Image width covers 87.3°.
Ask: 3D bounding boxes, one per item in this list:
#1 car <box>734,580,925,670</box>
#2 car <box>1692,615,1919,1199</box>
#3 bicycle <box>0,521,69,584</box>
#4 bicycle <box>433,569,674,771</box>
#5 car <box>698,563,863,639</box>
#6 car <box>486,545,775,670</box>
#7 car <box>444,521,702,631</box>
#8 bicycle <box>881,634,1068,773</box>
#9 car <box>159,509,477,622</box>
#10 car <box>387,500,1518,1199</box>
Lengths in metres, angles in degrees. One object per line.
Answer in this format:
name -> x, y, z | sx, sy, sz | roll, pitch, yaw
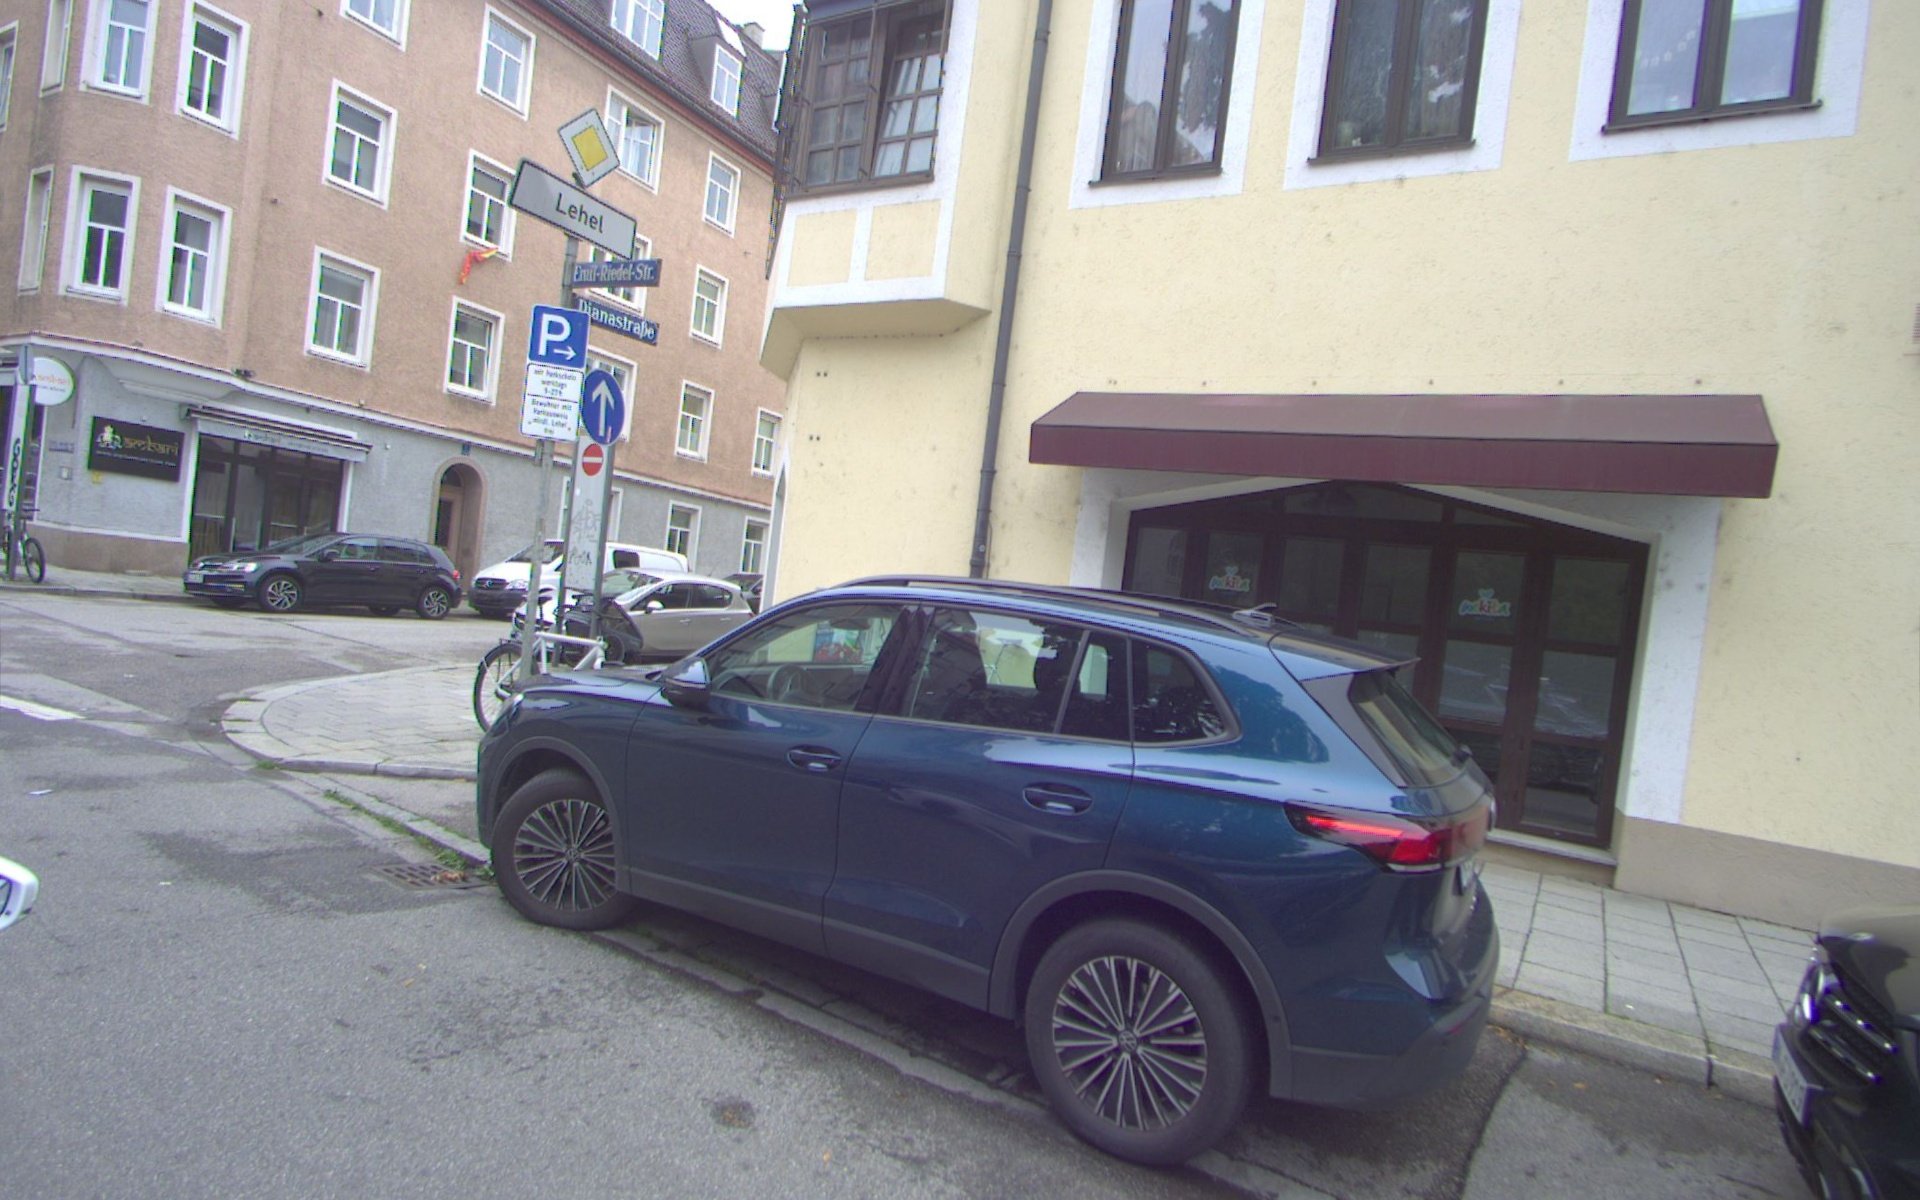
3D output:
car -> -2.538, 0.553, 20.417 | 1.717, 1.394, 3.812 | 9, 1, 31
car -> 4.178, 1.153, 1.582 | 4.630, 1.701, 1.757 | 7, 2, 33
bicycle -> -14.397, -0.741, 15.595 | 1.304, 0.815, 0.457 | 7, 0, 32
bicycle -> -3.110, 0.482, 7.606 | 1.962, 1.222, 0.514 | 7, 0, 32
car -> -4.987, 0.097, 28.664 | 2.064, 1.707, 4.616 | 5, -1, 29
car -> -4.992, 0.196, 15.794 | 1.717, 1.475, 4.042 | 9, 1, 31
car -> -8.442, -0.439, 22.501 | 2.064, 1.876, 5.136 | 5, -1, 29
bicycle -> 0.107, 0.902, 9.069 | 1.656, 0.989, 0.271 | 7, 0, 30
car -> -10.915, -0.520, 17.430 | 1.893, 1.446, 4.177 | 5, -1, 29
car -> -0.247, 0.654, 4.325 | 4.435, 1.701, 1.820 | 7, 1, 31
